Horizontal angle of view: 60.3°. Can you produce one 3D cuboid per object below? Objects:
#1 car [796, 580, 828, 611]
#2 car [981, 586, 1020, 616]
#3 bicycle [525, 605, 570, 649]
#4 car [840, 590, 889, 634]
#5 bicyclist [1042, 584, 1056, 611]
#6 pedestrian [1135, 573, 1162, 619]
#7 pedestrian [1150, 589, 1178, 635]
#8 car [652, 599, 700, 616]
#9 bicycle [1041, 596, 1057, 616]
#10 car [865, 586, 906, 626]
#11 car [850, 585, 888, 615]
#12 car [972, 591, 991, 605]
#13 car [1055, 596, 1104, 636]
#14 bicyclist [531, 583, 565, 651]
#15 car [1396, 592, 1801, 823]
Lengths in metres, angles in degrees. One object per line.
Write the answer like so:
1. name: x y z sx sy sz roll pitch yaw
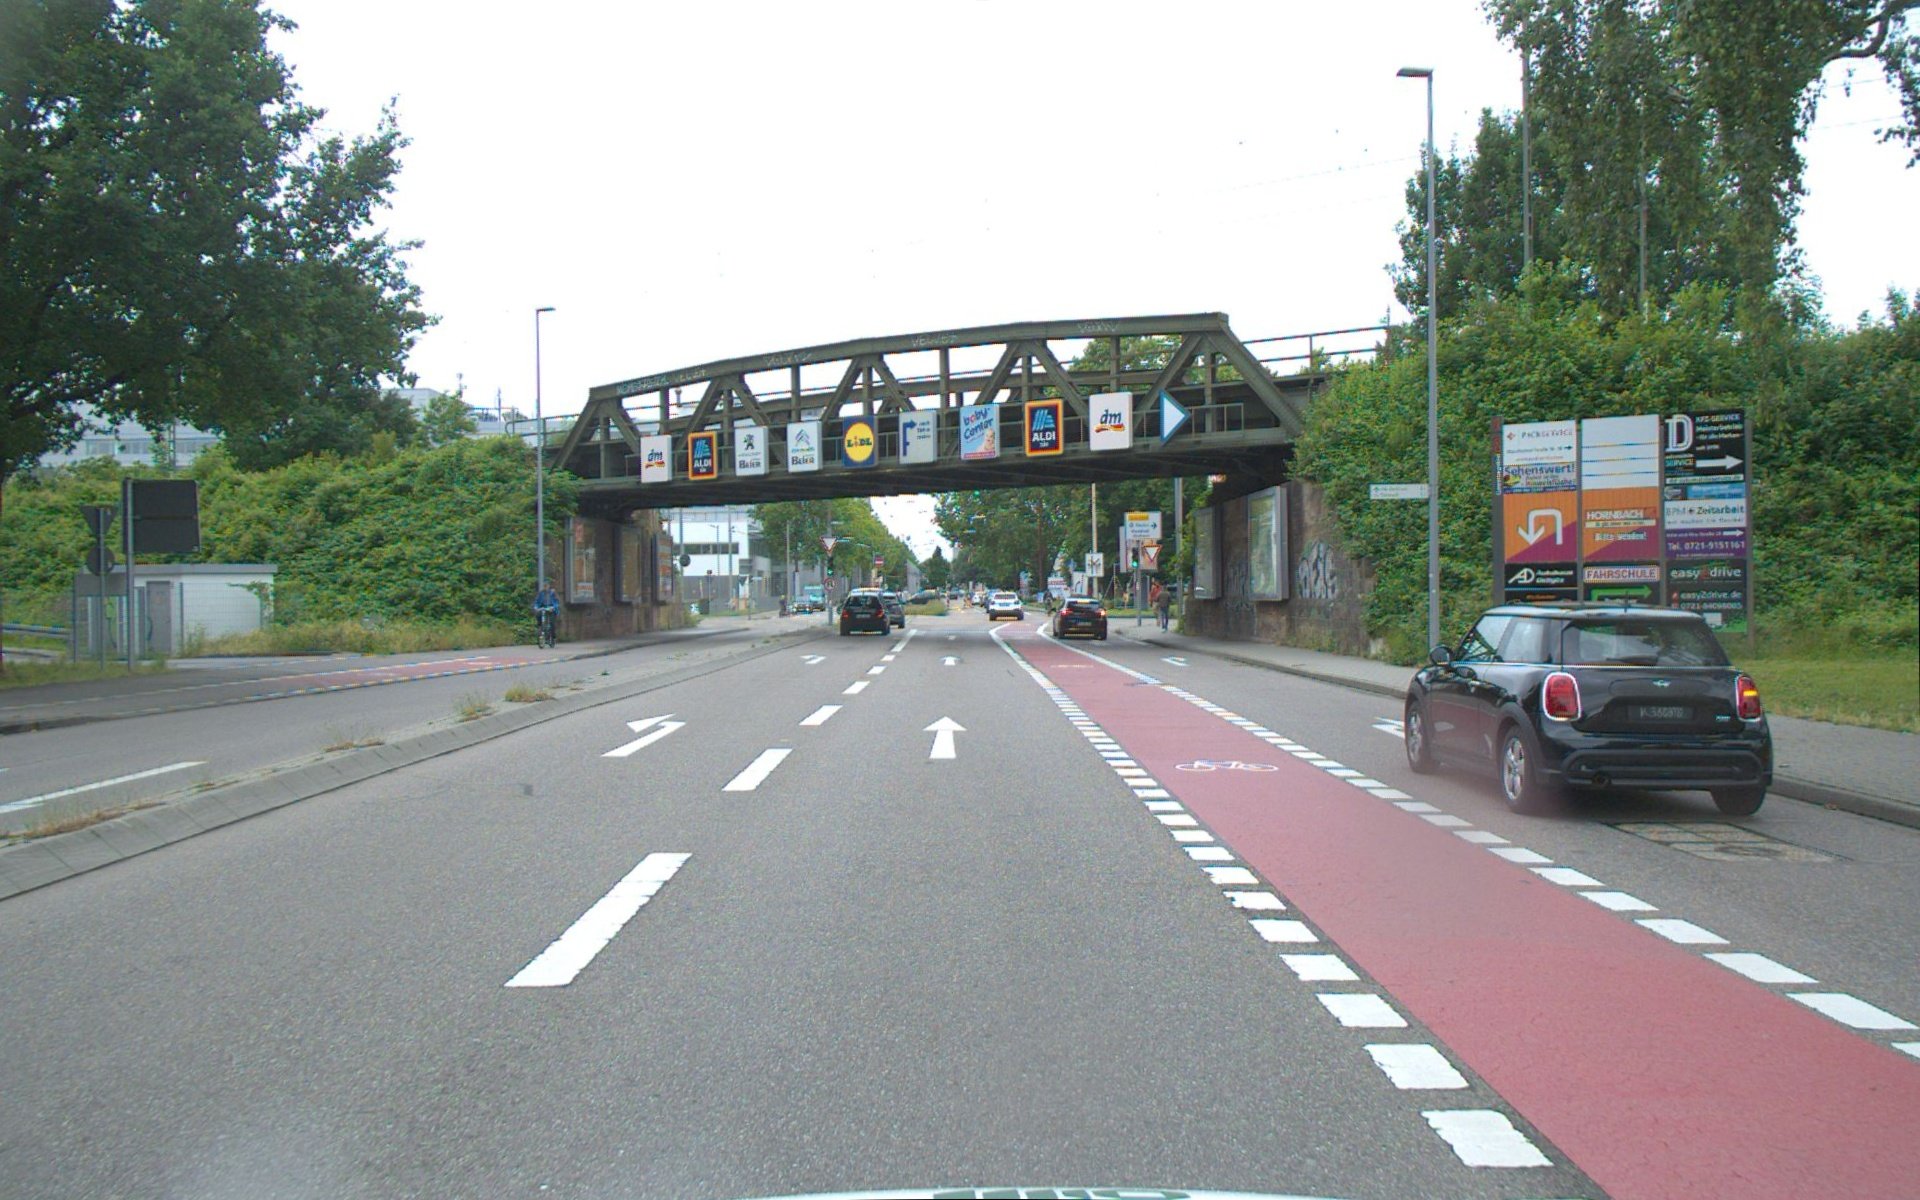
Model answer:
1. car: -14.272 -0.411 159.520 2.280 2.875 5.951 -1 0 2
2. car: 2.191 0.041 90.751 1.787 1.628 3.773 0 1 -4
3. bicycle: -11.788 0.752 47.366 0.698 1.207 2.370 1 0 0
4. car: -3.552 0.426 61.272 1.733 1.554 3.667 0 1 -4
5. bicyclist: 5.556 -0.129 103.214 0.800 1.658 1.235 -1 0 -1
6. pedestrian: 7.495 -0.154 65.778 0.854 1.790 0.787 -1 0 25
7. pedestrian: 7.502 0.423 60.847 0.728 1.669 0.777 -1 0 32
8. car: -28.314 0.742 165.069 4.437 1.662 1.911 -2 0 -4
9. bicycle: 5.571 0.373 103.216 0.800 1.234 2.683 -1 0 -1
10. car: -3.308 0.248 72.853 1.737 1.681 3.667 0 1 -4
11. car: -4.830 -0.015 87.285 1.923 1.554 5.007 0 1 -4
12. car: 2.288 -0.236 179.697 1.760 1.540 3.703 0 1 -4
13. car: 4.157 0.548 57.958 1.613 1.303 3.421 0 1 2
14. bicyclist: -11.785 0.482 47.347 0.687 1.907 1.020 1 0 0
15. car: 4.605 0.686 12.535 1.645 1.456 3.774 0 1 1
